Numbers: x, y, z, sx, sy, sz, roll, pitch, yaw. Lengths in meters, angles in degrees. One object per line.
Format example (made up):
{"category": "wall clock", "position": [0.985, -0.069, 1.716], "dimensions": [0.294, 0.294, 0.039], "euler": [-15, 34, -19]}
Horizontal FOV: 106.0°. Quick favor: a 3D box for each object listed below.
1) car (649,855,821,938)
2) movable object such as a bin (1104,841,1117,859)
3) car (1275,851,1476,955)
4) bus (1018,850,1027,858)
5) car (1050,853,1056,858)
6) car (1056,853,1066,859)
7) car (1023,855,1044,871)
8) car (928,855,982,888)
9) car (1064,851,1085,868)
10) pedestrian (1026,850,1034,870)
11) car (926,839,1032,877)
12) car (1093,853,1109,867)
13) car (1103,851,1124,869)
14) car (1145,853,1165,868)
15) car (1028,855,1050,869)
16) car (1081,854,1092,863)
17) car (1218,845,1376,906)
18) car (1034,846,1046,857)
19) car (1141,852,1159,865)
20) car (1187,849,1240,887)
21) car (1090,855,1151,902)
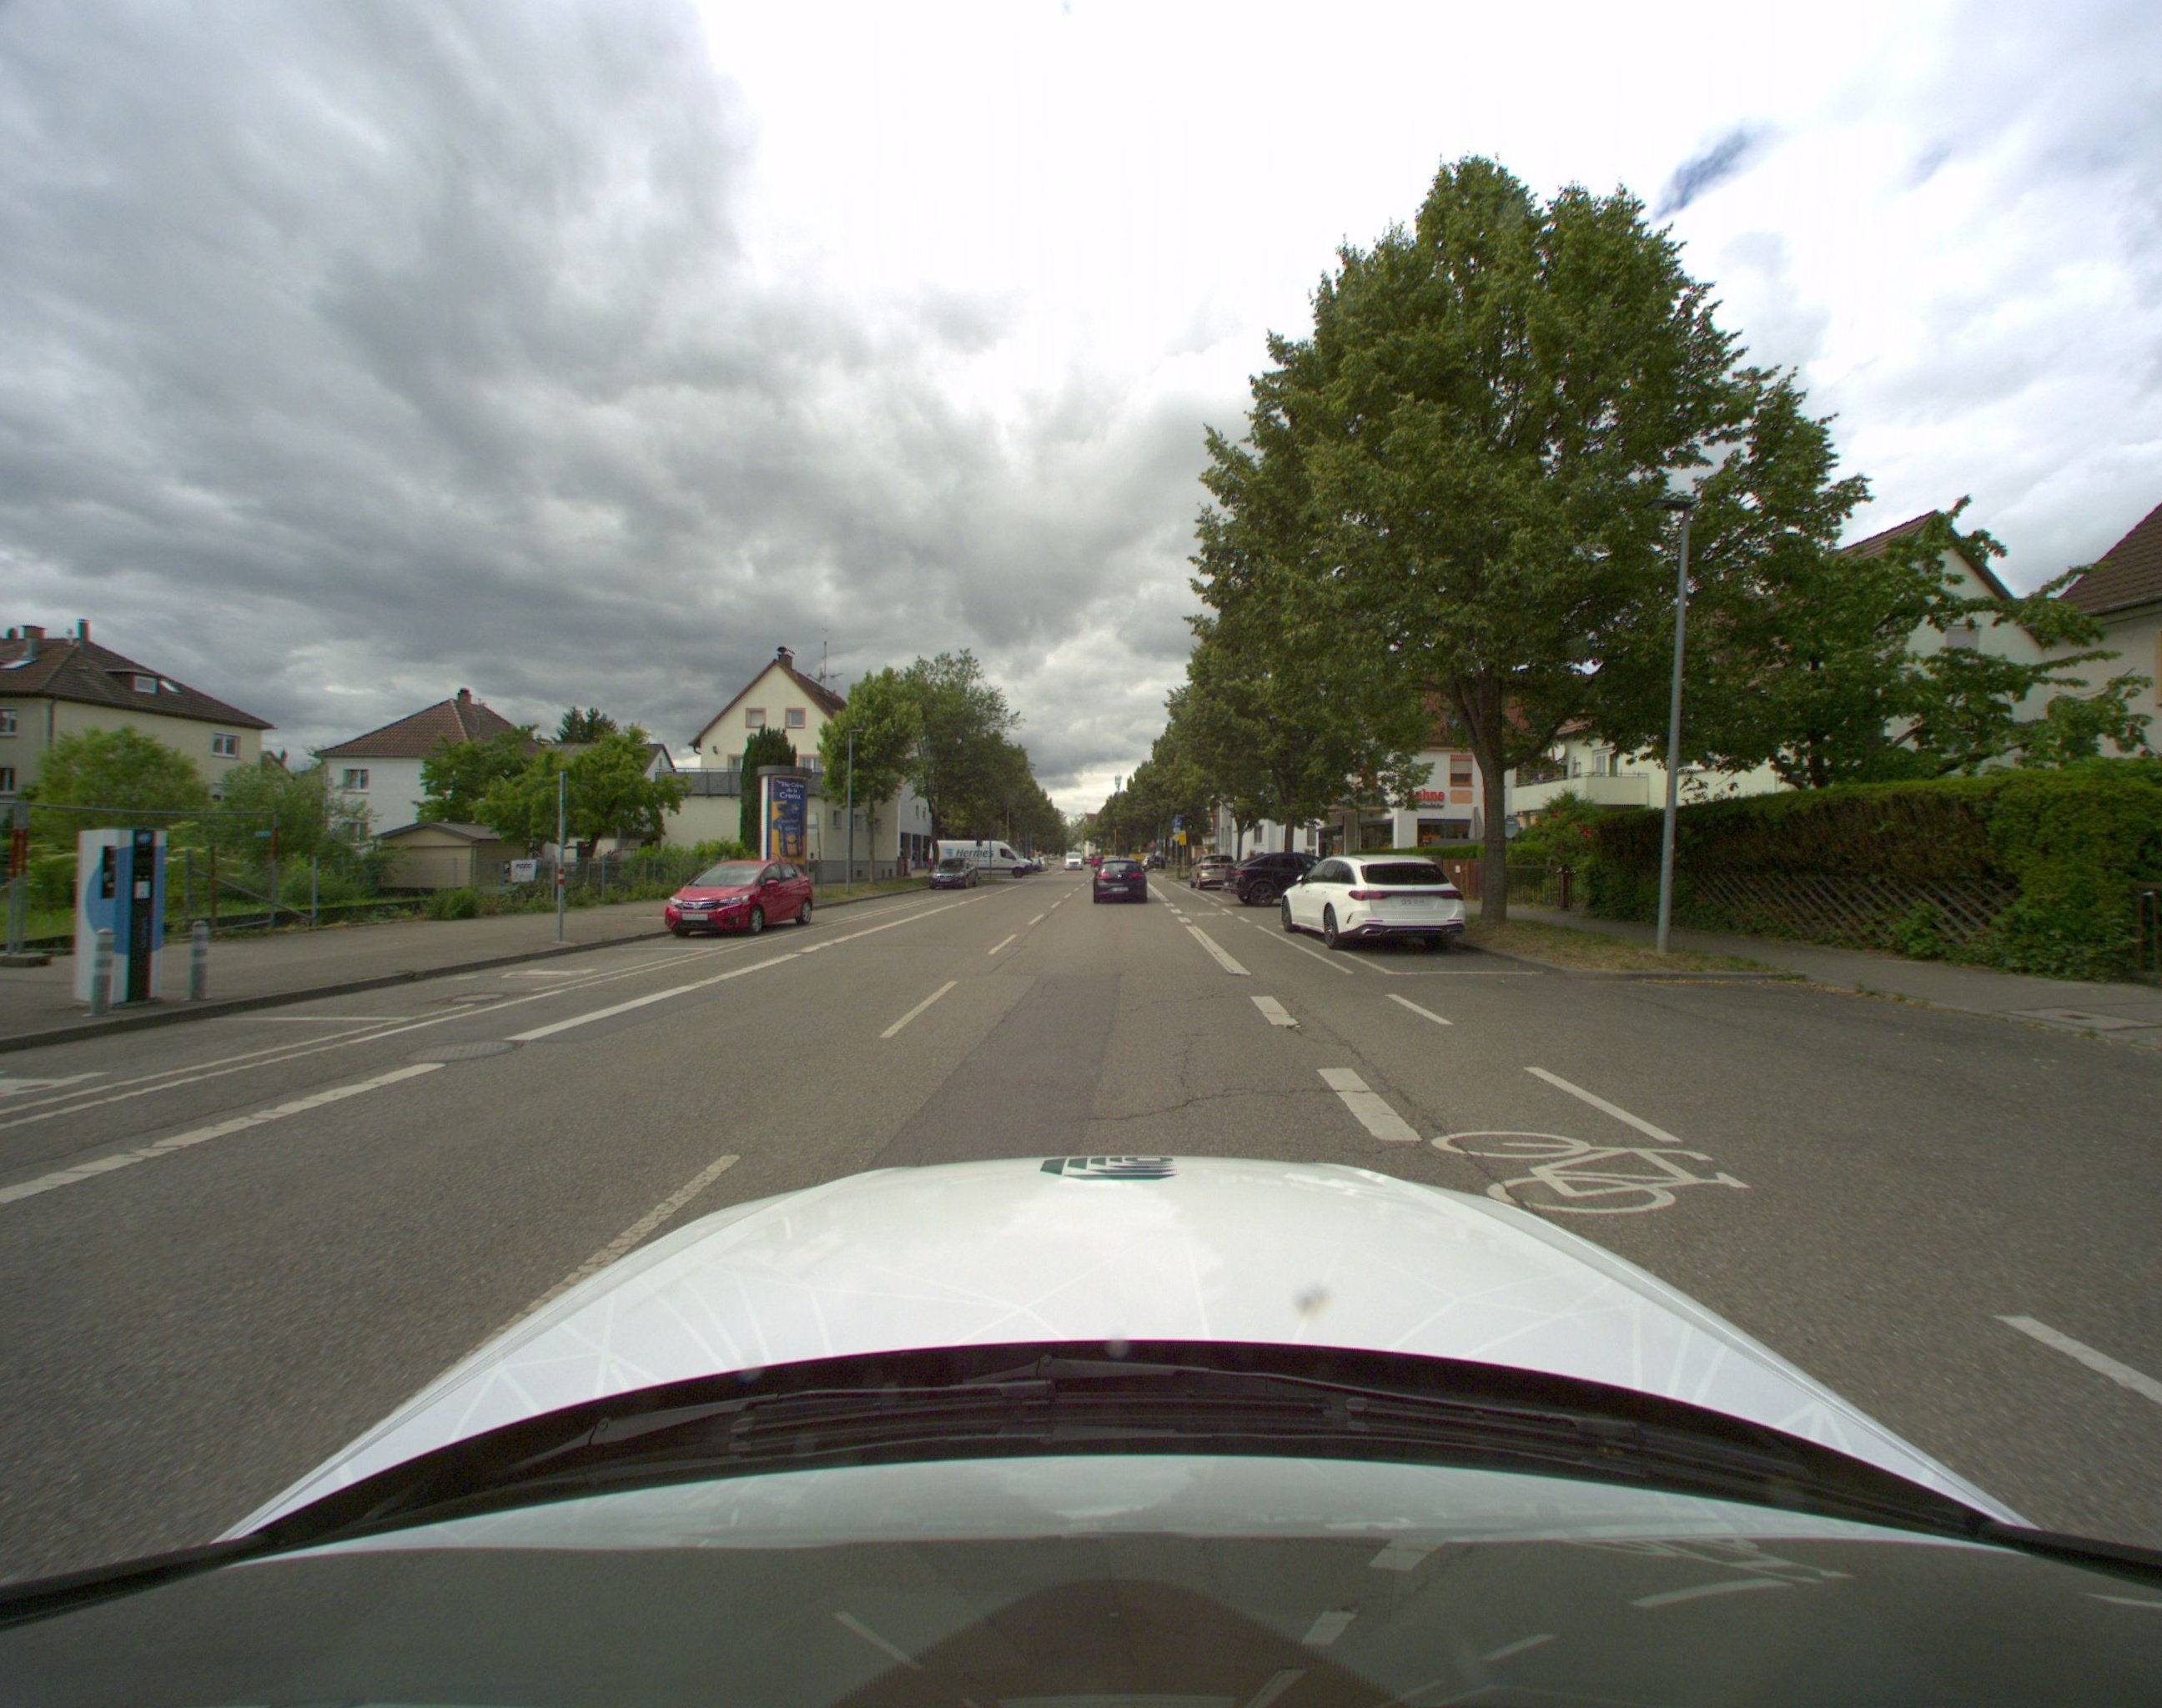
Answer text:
{"category": "car", "position": [-7.233, 0.813, 17.527], "dimensions": [1.677, 1.541, 4.137], "euler": [0, 0, 4]}
{"category": "movable object such as a bin", "position": [4.295, -0.619, 117.430], "dimensions": [1.762, 2.574, 3.739], "euler": [0, 0, 0]}
{"category": "car", "position": [4.791, 0.699, 14.062], "dimensions": [1.799, 1.475, 4.812], "euler": [0, 0, 1]}
{"category": "bus", "position": [-16.080, -0.044, 223.485], "dimensions": [1.992, 2.123, 7.340], "euler": [0, 0, -7]}
{"category": "car", "position": [-8.209, 0.548, 240.471], "dimensions": [1.806, 1.415, 3.688], "euler": [0, 0, -3]}
{"category": "car", "position": [-4.871, 0.586, 199.024], "dimensions": [1.810, 1.415, 3.681], "euler": [0, 0, -9]}
{"category": "car", "position": [-4.511, 0.851, 77.853], "dimensions": [1.637, 1.420, 4.021], "euler": [-1, 0, 1]}
{"category": "car", "position": [-6.132, 0.806, 39.997], "dimensions": [1.724, 1.469, 4.305], "euler": [-1, 0, 3]}
{"category": "car", "position": [-0.679, 0.566, 87.216], "dimensions": [1.958, 1.830, 4.821], "euler": [0, 0, 2]}
{"category": "pedestrian", "position": [-4.341, 0.533, 69.580], "dimensions": [0.539, 1.681, 0.752], "euler": [1, 1, 10]}
{"category": "car", "position": [-7.158, 0.248, 57.939], "dimensions": [7.269, 2.594, 2.219], "euler": [0, 0, -2]}
{"category": "car", "position": [2.502, 0.742, 103.776], "dimensions": [1.786, 1.623, 3.737], "euler": [-1, 0, -2]}
{"category": "car", "position": [3.173, 0.572, 80.020], "dimensions": [1.900, 1.685, 3.739], "euler": [-1, 0, 0]}
{"category": "car", "position": [7.716, 0.651, 85.146], "dimensions": [1.699, 1.454, 4.617], "euler": [-1, 0, 1]}
{"category": "car", "position": [-4.325, 0.835, 84.441], "dimensions": [1.706, 1.406, 4.304], "euler": [-1, 0, 4]}
{"category": "car", "position": [0.850, 0.737, 133.620], "dimensions": [1.804, 1.375, 3.692], "euler": [0, 0, -1]}
{"category": "car", "position": [6.354, 0.602, 24.235], "dimensions": [4.208, 1.638, 1.691], "euler": [-1, 0, -4]}
{"category": "car", "position": [-8.452, -0.475, 166.614], "dimensions": [2.090, 2.175, 5.034], "euler": [0, 0, -6]}
{"category": "car", "position": [8.063, 0.469, 95.106], "dimensions": [1.667, 1.462, 3.999], "euler": [-1, 0, -1]}
{"category": "car", "position": [5.801, 0.591, 36.051], "dimensions": [1.716, 1.580, 4.060], "euler": [0, 0, 0]}
{"category": "car", "position": [1.252, 0.760, 27.074], "dimensions": [1.813, 1.437, 3.739], "euler": [-1, 0, 0]}
